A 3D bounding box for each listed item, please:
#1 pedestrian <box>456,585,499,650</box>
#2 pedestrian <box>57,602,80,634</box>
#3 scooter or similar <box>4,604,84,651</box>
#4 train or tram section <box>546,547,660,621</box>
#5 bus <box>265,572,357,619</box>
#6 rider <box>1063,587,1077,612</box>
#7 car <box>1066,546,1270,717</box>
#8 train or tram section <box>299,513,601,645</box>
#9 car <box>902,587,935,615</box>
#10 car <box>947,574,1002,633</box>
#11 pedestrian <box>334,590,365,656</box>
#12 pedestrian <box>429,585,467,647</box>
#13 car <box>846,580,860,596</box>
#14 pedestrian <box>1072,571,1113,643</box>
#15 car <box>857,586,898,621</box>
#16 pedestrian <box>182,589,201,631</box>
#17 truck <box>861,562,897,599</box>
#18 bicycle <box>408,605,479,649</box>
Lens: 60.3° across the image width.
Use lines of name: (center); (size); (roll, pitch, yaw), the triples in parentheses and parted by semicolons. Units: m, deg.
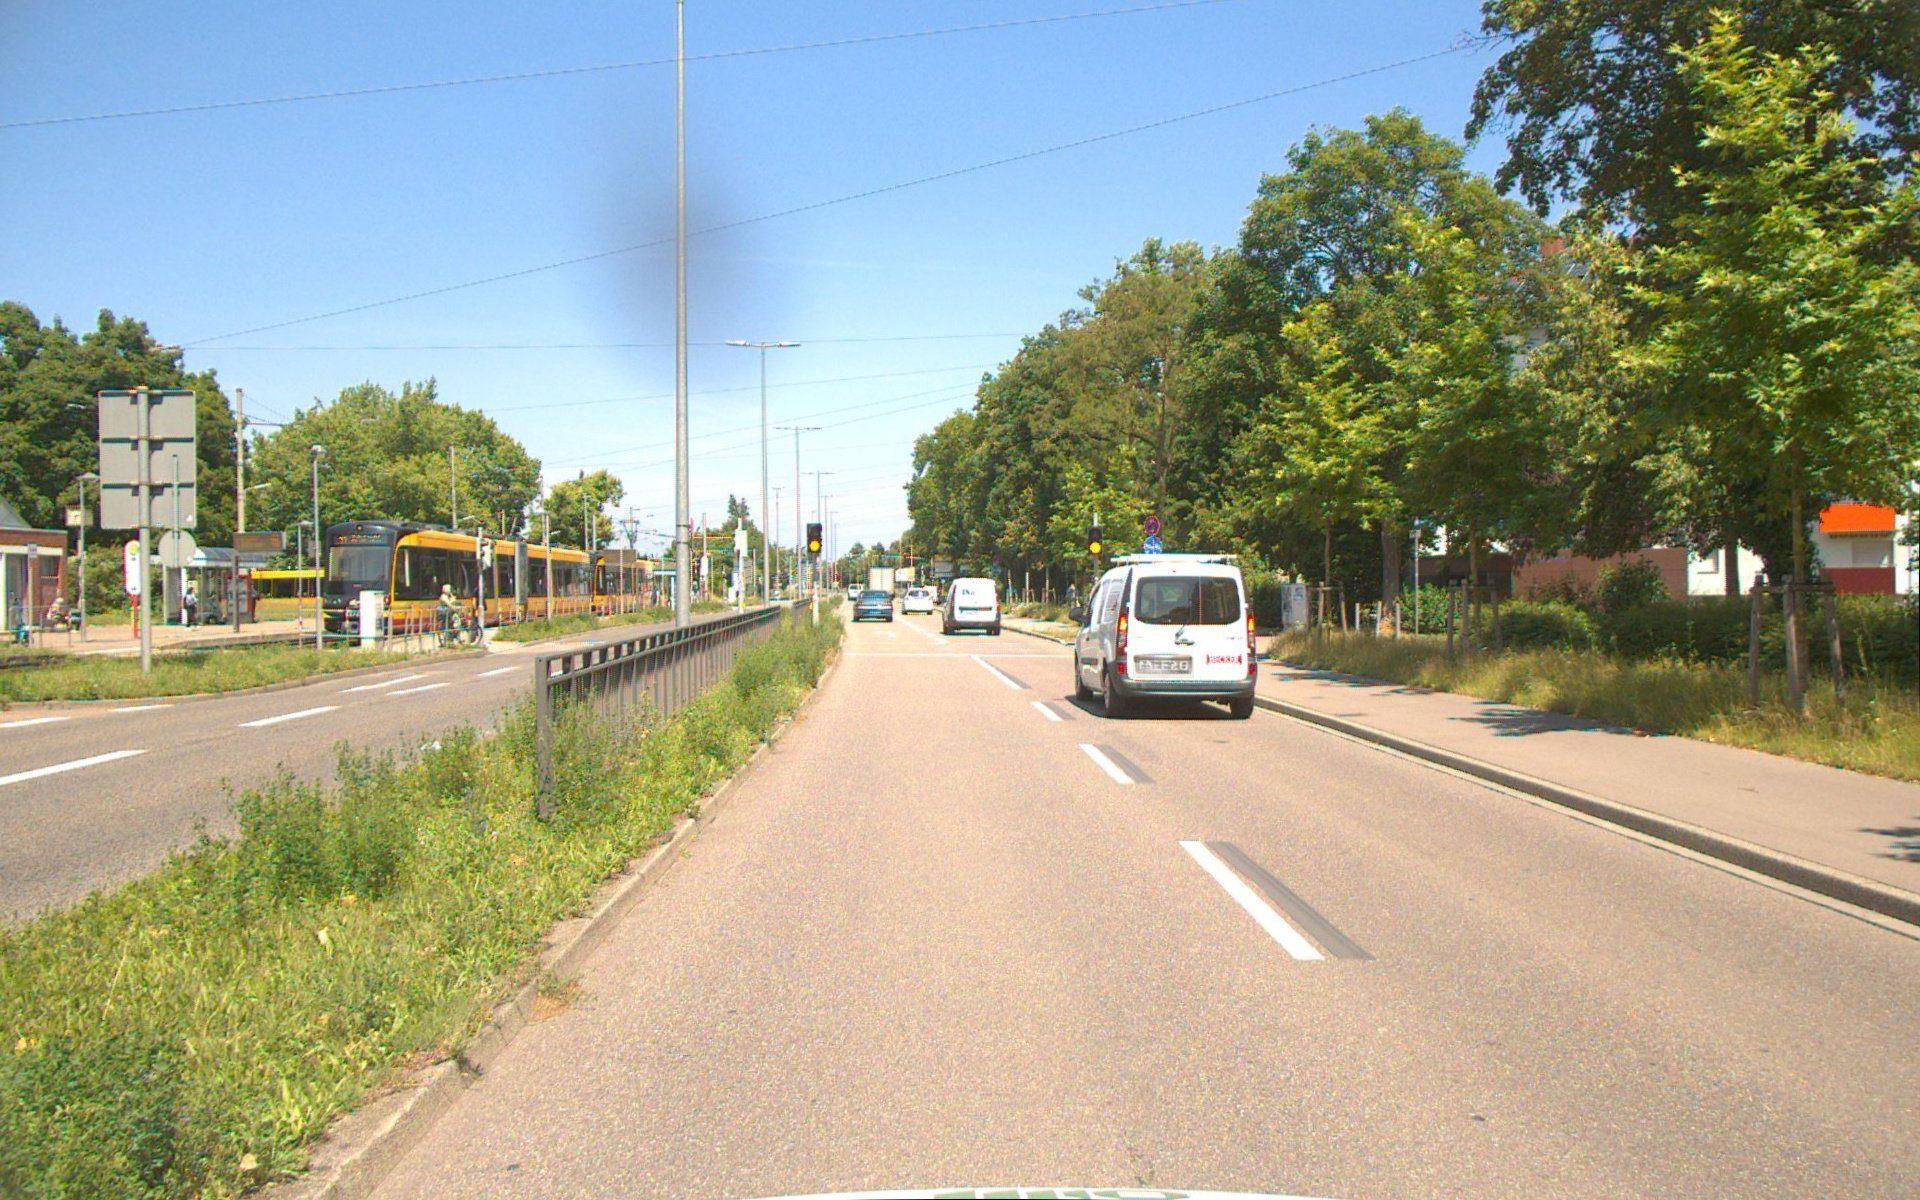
pedestrian: (-13.701, 0.494, 46.970); (0.939, 1.828, 0.705); (0, 0, 25)
pedestrian: (-29.489, 0.582, 54.701); (0.472, 1.036, 0.522); (-1, 0, -2)
scooter or similar: (-23.034, 0.678, 41.617); (0.601, 1.146, 1.665); (0, 0, 40)
train or tram section: (-20.520, -0.909, 97.170); (2.733, 3.732, 25.979); (0, 0, -4)
bus: (-51.461, -0.331, 131.055); (7.378, 3.629, 2.000); (0, 0, 21)
rider: (5.817, -0.039, 87.514); (0.664, 1.304, 0.533); (0, 0, -4)
car: (2.480, 0.339, 20.807); (1.788, 1.914, 4.453); (0, 0, -3)
train or tram section: (-18.491, -0.709, 65.501); (2.733, 3.732, 37.490); (0, 0, -4)
car: (-2.420, 0.046, 95.733); (1.767, 1.566, 3.997); (0, 0, -4)
car: (0.450, 0.087, 54.068); (1.692, 1.845, 4.000); (1, 1, 0)
pedestrian: (-14.831, 0.553, 40.177); (0.531, 1.568, 0.859); (-1, 0, -33)
pedestrian: (-13.910, 0.436, 44.947); (0.802, 1.657, 0.705); (0, 0, 2)
car: (-12.806, -1.416, 198.661); (1.654, 1.930, 3.867); (-1, 0, -4)
pedestrian: (3.501, 0.178, 43.763); (1.024, 1.882, 0.758); (0, 0, 9)
car: (-3.645, 0.139, 73.044); (1.766, 1.512, 3.998); (0, 0, -3)
pedestrian: (-27.161, 0.347, 58.437); (0.452, 1.461, 0.524); (0, 0, -6)
truck: (-9.010, -2.116, 182.755); (3.822, 3.879, 10.784); (-1, 0, -4)
bicycle: (-13.994, 0.729, 44.827); (1.824, 1.177, 0.242); (0, 0, 1)
